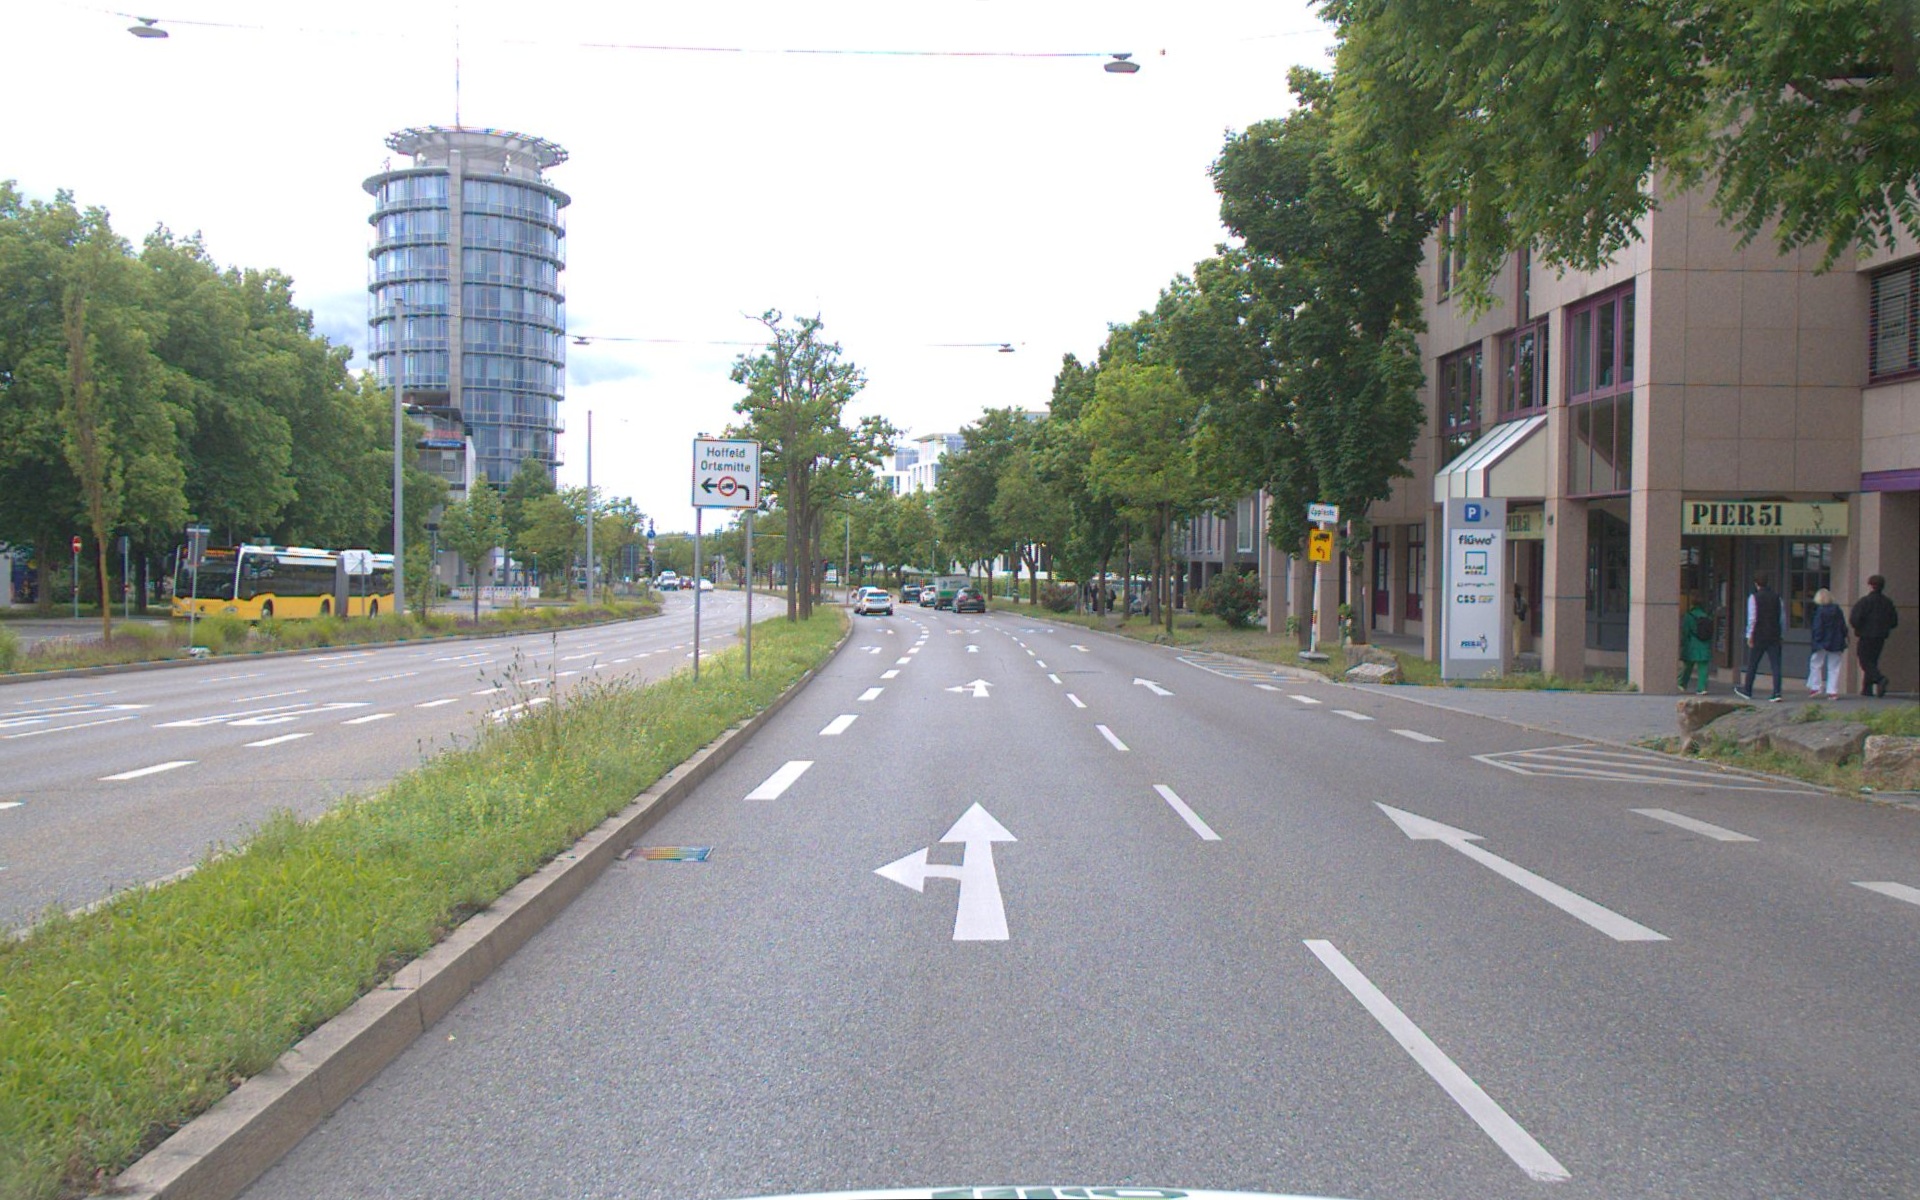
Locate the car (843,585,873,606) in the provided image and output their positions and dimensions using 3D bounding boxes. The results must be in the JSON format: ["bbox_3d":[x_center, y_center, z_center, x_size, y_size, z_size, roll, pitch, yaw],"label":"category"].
[{"bbox_3d":[-7.636,-0.317,123.825,1.952,1.534,4.000,0,1,1],"label":"car"}]

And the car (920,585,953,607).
[{"bbox_3d":[-1.684,-0.330,119.205,1.956,1.534,3.994,-1,1,-7],"label":"car"}]

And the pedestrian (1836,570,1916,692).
[{"bbox_3d":[13.240,0.440,23.935,0.644,1.720,0.843,-2,0,0],"label":"pedestrian"}]

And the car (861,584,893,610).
[{"bbox_3d":[-4.838,-0.161,97.138,1.826,1.474,3.998,0,0,-2],"label":"car"}]

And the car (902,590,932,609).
[{"bbox_3d":[-3.643,-0.061,138.579,1.957,1.534,3.990,0,0,-10],"label":"car"}]

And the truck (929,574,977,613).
[{"bbox_3d":[-0.493,-0.437,110.599,2.803,2.563,6.282,0,0,-4],"label":"truck"}]

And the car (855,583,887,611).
[{"bbox_3d":[-5.674,-0.196,104.659,1.954,1.701,3.997,0,0,-4],"label":"car"}]

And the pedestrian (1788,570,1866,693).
[{"bbox_3d":[12.496,0.439,23.852,0.644,1.720,0.843,-2,0,0],"label":"pedestrian"}]

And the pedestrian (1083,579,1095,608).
[{"bbox_3d":[8.111,-0.412,103.807,0.596,1.806,0.953,0,2,-4],"label":"pedestrian"}]

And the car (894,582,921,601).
[{"bbox_3d":[-4.402,-0.709,138.257,1.956,1.517,3.994,0,1,-7],"label":"car"}]

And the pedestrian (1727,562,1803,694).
[{"bbox_3d":[11.649,0.397,23.951,0.644,1.858,0.843,-2,0,0],"label":"pedestrian"}]

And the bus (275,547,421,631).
[{"bbox_3d":[-27.843,-0.524,75.858,2.969,3.516,9.911,1,0,0],"label":"bus"}]

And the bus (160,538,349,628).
[{"bbox_3d":[-27.664,-0.666,65.546,3.021,3.218,10.735,1,0,-1],"label":"bus"}]

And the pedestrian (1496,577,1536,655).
[{"bbox_3d":[12.535,0.357,37.295,0.582,1.734,0.969,0,0,1],"label":"pedestrian"}]

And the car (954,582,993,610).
[{"bbox_3d":[0.794,-0.243,99.802,1.954,1.624,3.996,0,1,-5],"label":"car"}]

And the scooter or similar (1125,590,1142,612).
[{"bbox_3d":[8.067,0.032,76.994,0.572,1.011,0.845,-2,0,-8],"label":"scooter or similar"}]

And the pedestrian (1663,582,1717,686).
[{"bbox_3d":[11.327,0.518,25.670,0.549,1.577,0.544,-2,0,0],"label":"pedestrian"}]

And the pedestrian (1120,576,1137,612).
[{"bbox_3d":[7.922,-0.294,77.883,0.545,1.681,0.960,-2,0,-8],"label":"pedestrian"}]

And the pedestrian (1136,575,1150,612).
[{"bbox_3d":[8.656,-0.321,78.091,0.555,1.729,0.829,0,0,0],"label":"pedestrian"}]
